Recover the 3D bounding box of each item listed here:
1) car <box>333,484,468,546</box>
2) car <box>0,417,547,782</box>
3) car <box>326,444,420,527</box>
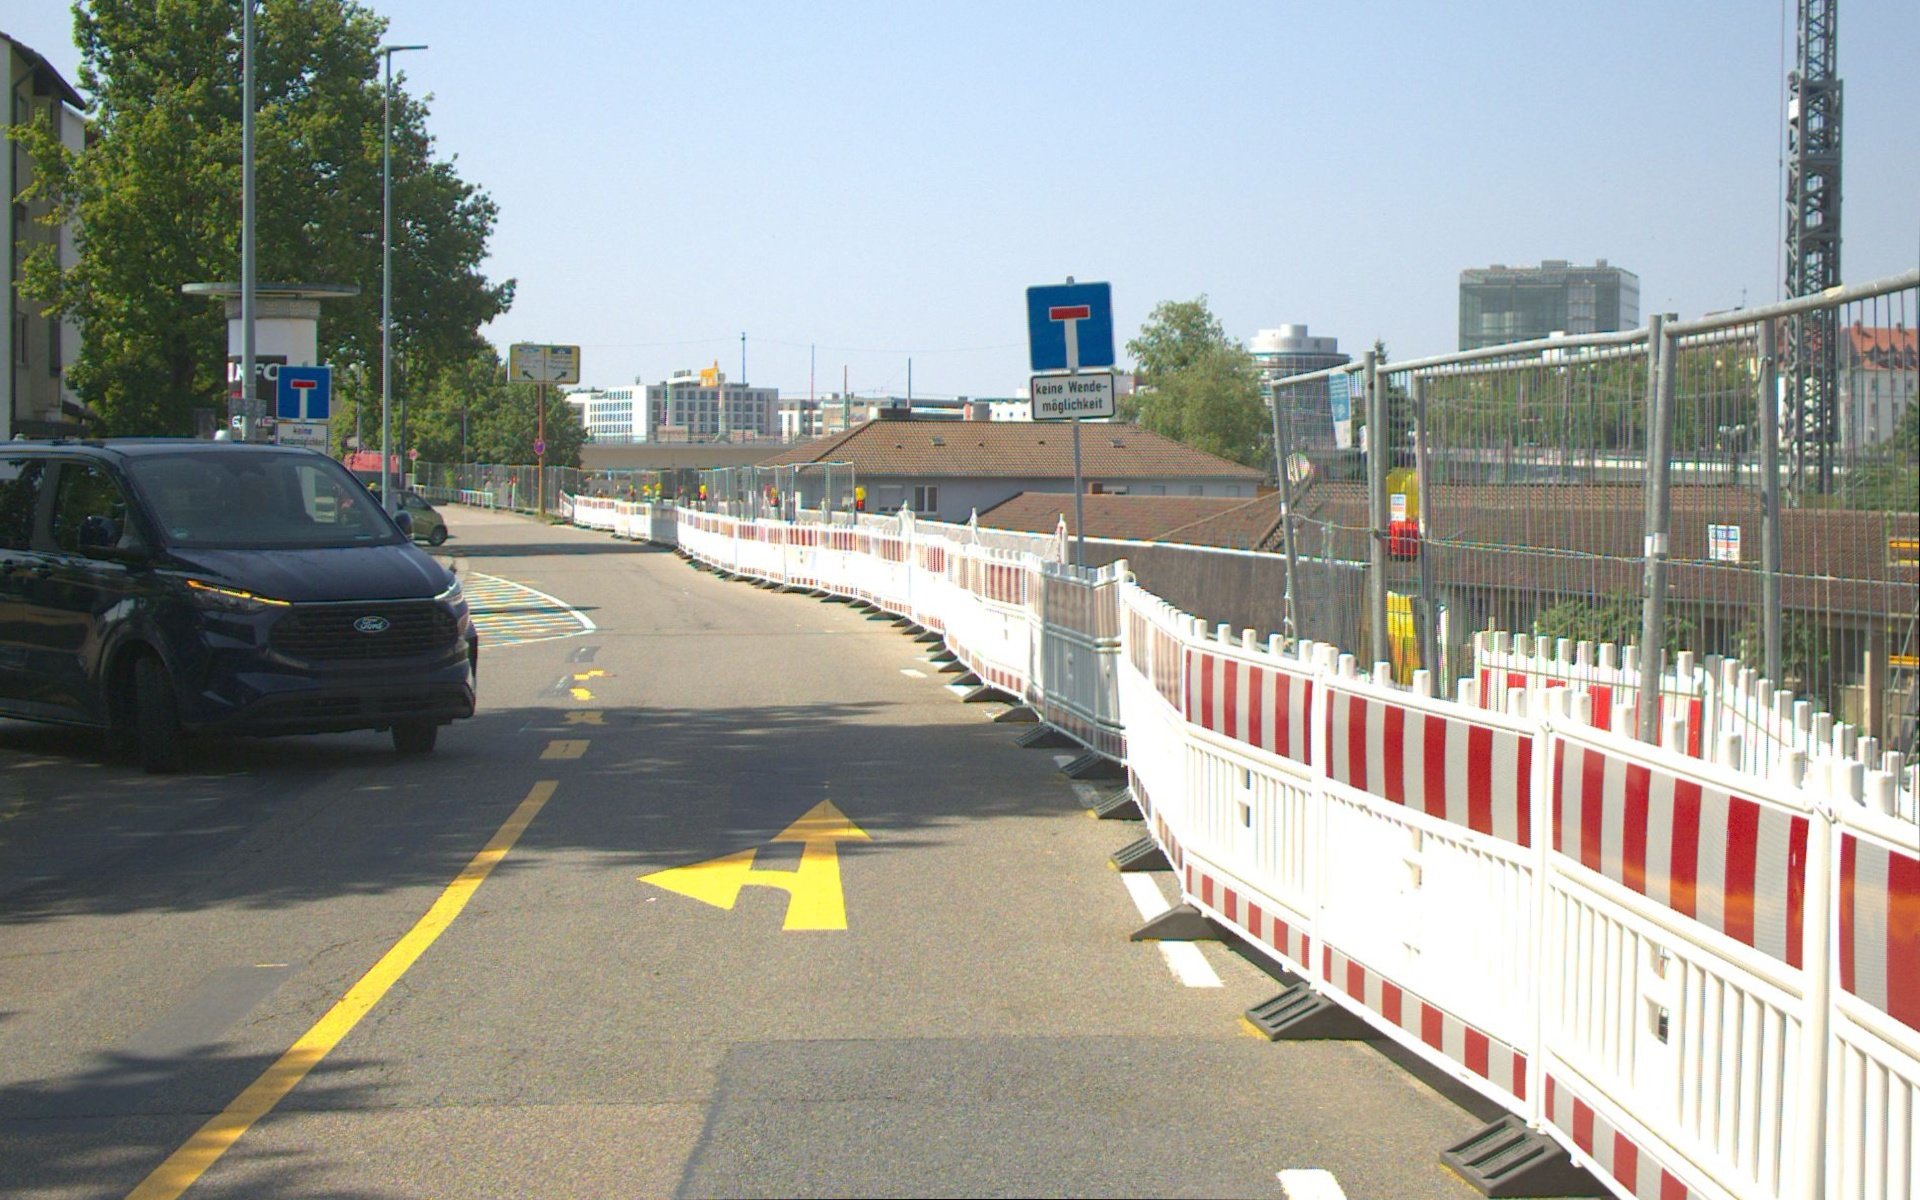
[{"bbox_3d":[-15.401,-2.328,94.705,1.725,1.632,3.273,2,1,43],"label":"car"},{"bbox_3d":[-5.156,-0.062,21.687,2.178,1.961,5.441,-5,4,-43],"label":"car"},{"bbox_3d":[-18.481,-3.584,108.429,2.537,2.511,5.119,1,1,-6],"label":"car"}]
